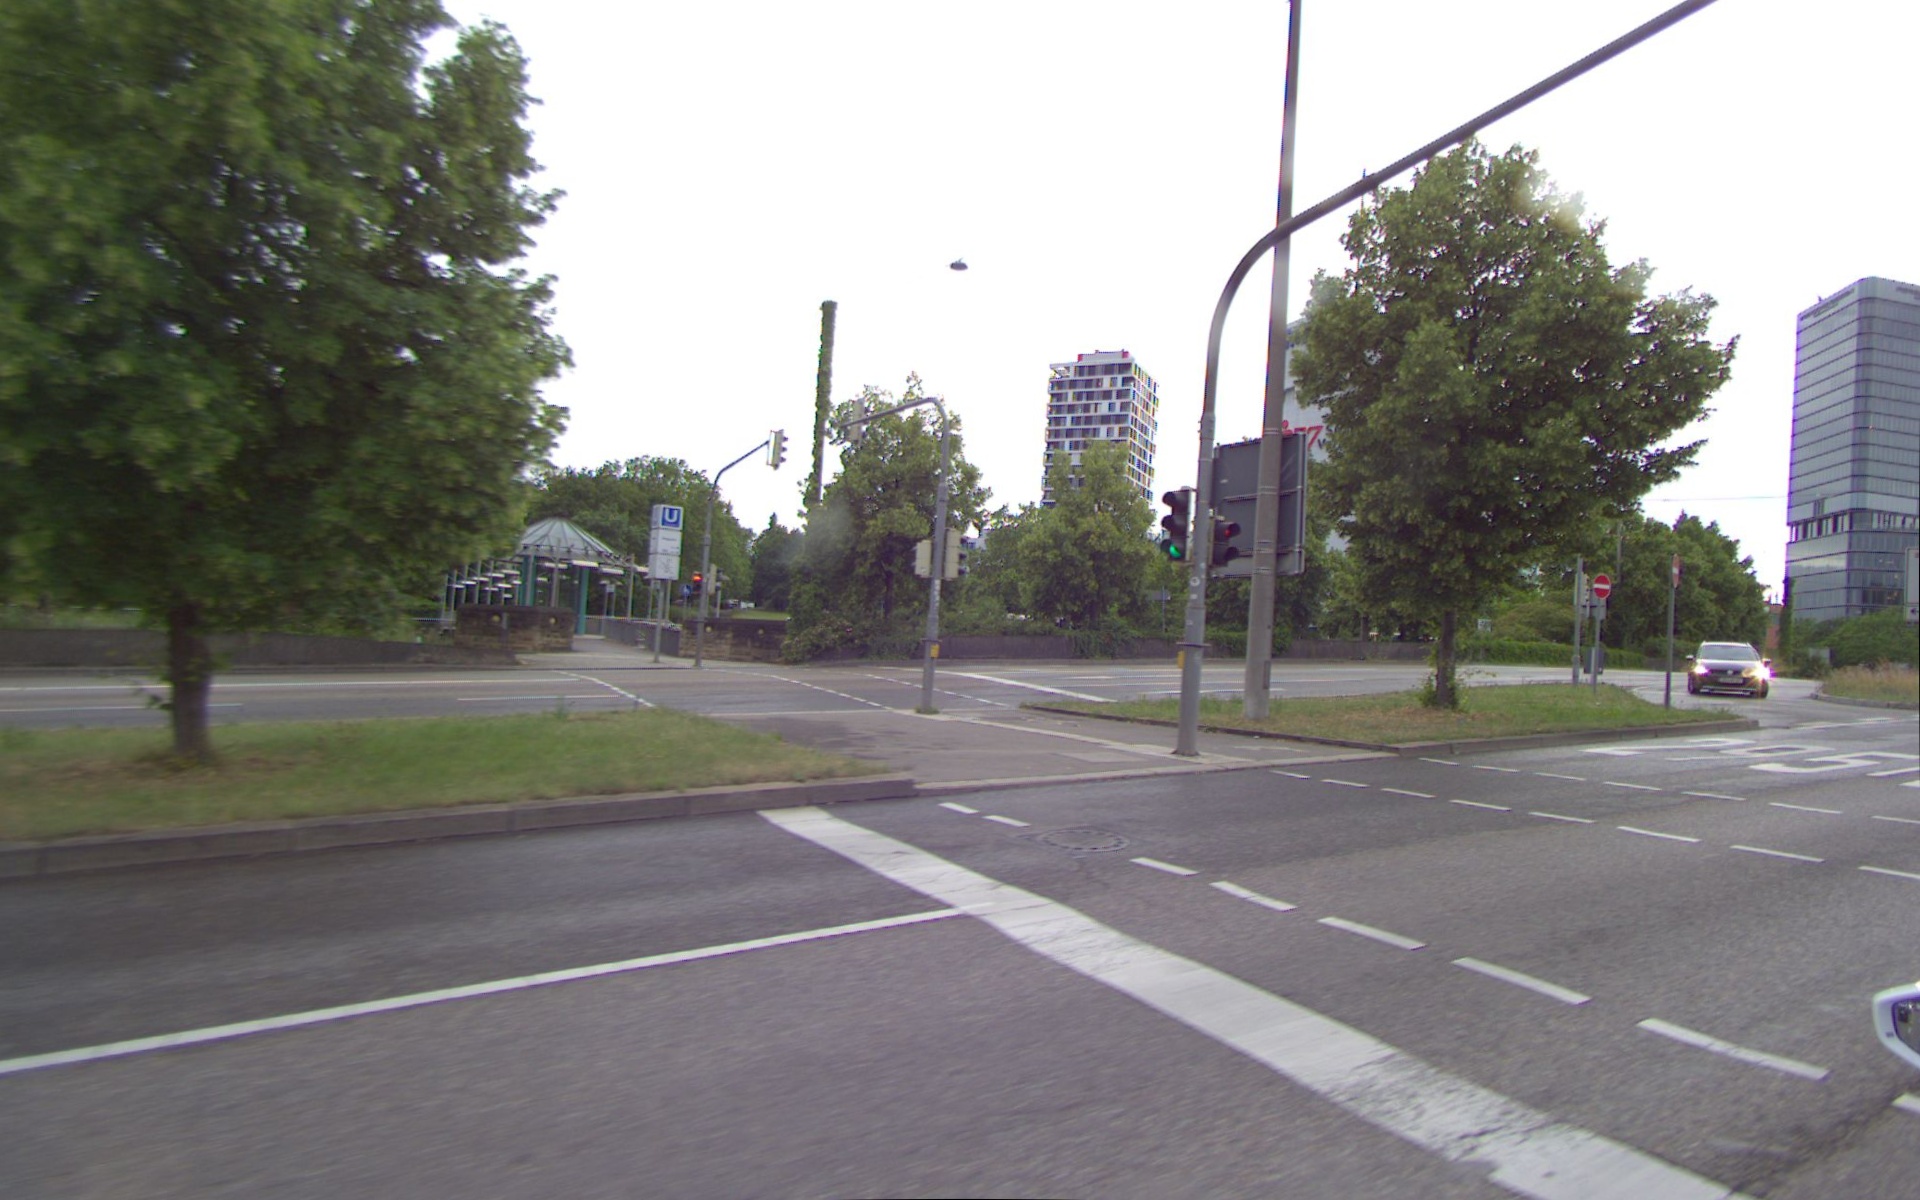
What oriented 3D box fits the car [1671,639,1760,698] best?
[{"bbox_3d":[21.229,1.880,28.240,1.866,1.527,3.985,-1,-3,37],"label":"car"}]
